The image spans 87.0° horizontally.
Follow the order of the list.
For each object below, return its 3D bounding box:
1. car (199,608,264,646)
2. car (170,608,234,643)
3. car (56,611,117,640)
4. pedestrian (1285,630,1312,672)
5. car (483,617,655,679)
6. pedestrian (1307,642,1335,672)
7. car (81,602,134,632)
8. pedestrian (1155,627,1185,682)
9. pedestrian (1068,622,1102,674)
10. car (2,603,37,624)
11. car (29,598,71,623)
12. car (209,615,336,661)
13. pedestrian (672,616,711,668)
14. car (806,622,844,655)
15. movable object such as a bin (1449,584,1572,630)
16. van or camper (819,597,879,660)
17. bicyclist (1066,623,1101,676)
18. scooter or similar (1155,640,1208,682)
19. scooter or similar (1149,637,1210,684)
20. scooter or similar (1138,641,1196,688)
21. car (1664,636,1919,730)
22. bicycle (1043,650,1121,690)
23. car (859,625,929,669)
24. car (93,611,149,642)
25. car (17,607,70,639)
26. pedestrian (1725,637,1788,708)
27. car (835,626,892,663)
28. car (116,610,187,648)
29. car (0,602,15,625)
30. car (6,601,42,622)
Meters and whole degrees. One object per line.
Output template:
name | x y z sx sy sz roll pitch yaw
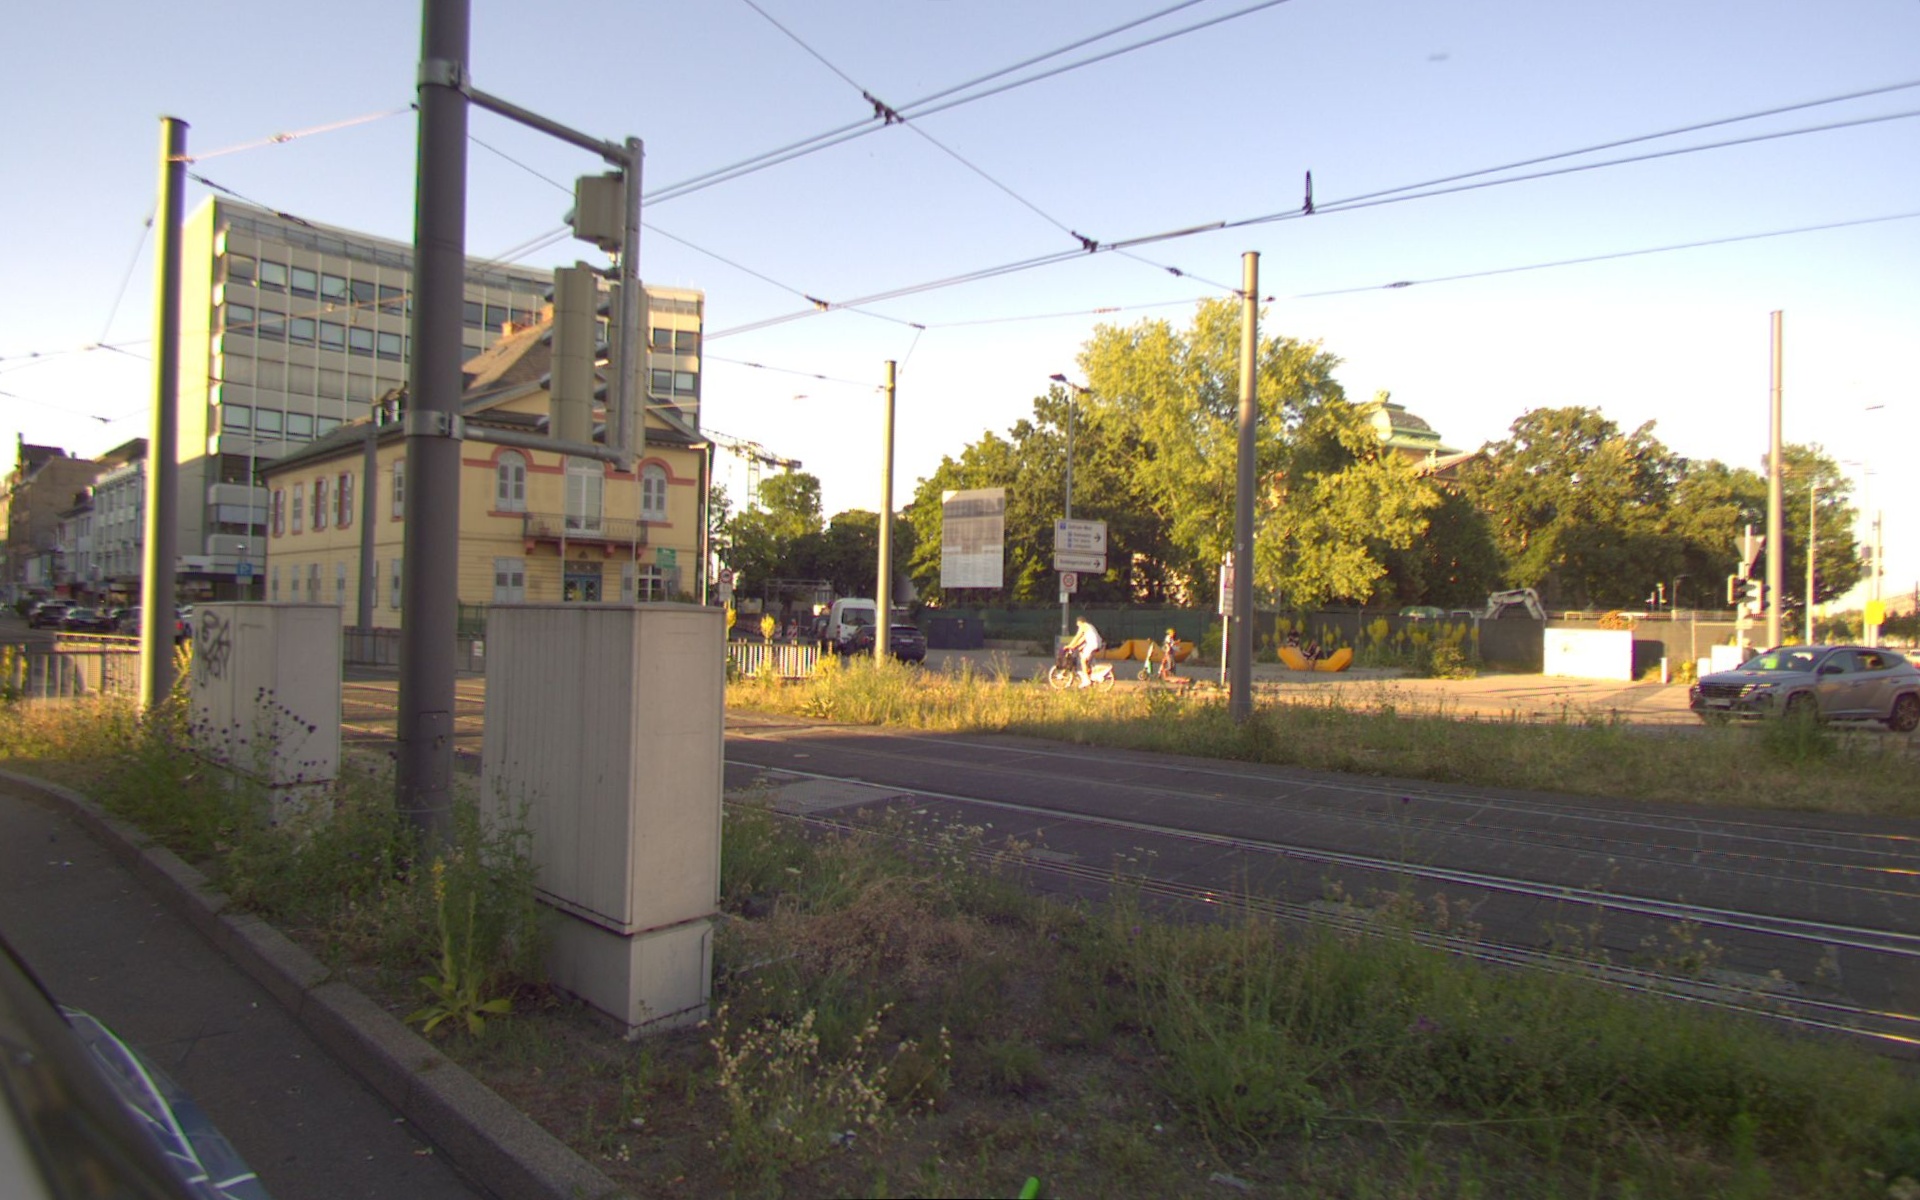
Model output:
car | -34.559 1.260 47.987 3.437 1.721 1.714 0 -2 40
car | -38.322 1.273 51.149 3.803 1.721 1.714 0 -2 40
car | -45.721 1.334 52.913 4.658 1.439 1.990 0 -2 44
pedestrian | 13.991 2.102 41.812 0.764 1.678 0.810 -1 -2 44
car | -10.866 1.277 28.148 4.388 1.528 1.984 0 1 25
pedestrian | 14.439 2.259 40.500 0.735 1.166 0.976 -1 -3 43
car | -57.992 1.159 68.815 3.995 1.962 1.974 -1 -2 39
pedestrian | 6.349 1.623 30.551 0.679 1.625 0.597 3 -2 -44
pedestrian | 4.234 1.615 34.328 0.865 1.737 0.831 2 -2 -10
car | -94.344 1.360 101.507 3.994 2.029 1.975 0 1 37
car | -75.387 0.852 83.839 3.995 1.962 1.974 0 -2 39
car | -23.210 1.260 34.140 4.322 1.421 1.895 0 -2 31
pedestrian | -7.990 1.255 30.138 1.027 1.514 1.007 1 -2 -11
car | -7.896 2.218 58.975 1.689 1.863 4.032 2 -2 -13
movable object such as a bin | 26.185 0.355 48.367 1.965 2.029 5.041 2 -2 -22
van or camper | -5.466 1.377 49.122 2.049 2.796 6.466 2 -2 -13
bicyclist | 3.003 1.195 24.583 0.723 1.267 0.664 0 -2 17
scooter or similar | 6.295 1.727 28.731 1.382 1.175 0.462 1 -2 -8
scooter or similar | 6.355 1.746 29.299 1.627 1.302 0.462 1 -2 -6
scooter or similar | 6.095 1.884 29.811 1.503 1.269 0.613 4 -2 -6
car | 16.475 1.596 19.756 4.460 1.673 1.954 2 -2 -12
bicycle | 2.966 1.688 24.590 1.781 0.899 0.676 1 -2 17
car | -2.605 1.760 39.015 1.754 1.555 4.303 2 -2 -16
car | -53.886 1.696 64.987 3.995 1.915 1.974 0 -2 39
car | -58.809 1.459 64.911 4.116 2.005 1.973 0 -2 40
pedestrian | 20.267 1.838 25.767 0.930 1.749 0.822 1 -1 -4
car | -4.183 1.858 43.296 1.705 1.440 4.486 2 -2 -14
car | -35.712 1.245 44.657 4.071 1.610 1.814 -1 -2 42
car | -100.191 1.403 105.431 3.995 2.394 1.974 -1 -2 39
car | -89.891 1.073 97.173 3.995 1.962 1.974 -1 -2 39
